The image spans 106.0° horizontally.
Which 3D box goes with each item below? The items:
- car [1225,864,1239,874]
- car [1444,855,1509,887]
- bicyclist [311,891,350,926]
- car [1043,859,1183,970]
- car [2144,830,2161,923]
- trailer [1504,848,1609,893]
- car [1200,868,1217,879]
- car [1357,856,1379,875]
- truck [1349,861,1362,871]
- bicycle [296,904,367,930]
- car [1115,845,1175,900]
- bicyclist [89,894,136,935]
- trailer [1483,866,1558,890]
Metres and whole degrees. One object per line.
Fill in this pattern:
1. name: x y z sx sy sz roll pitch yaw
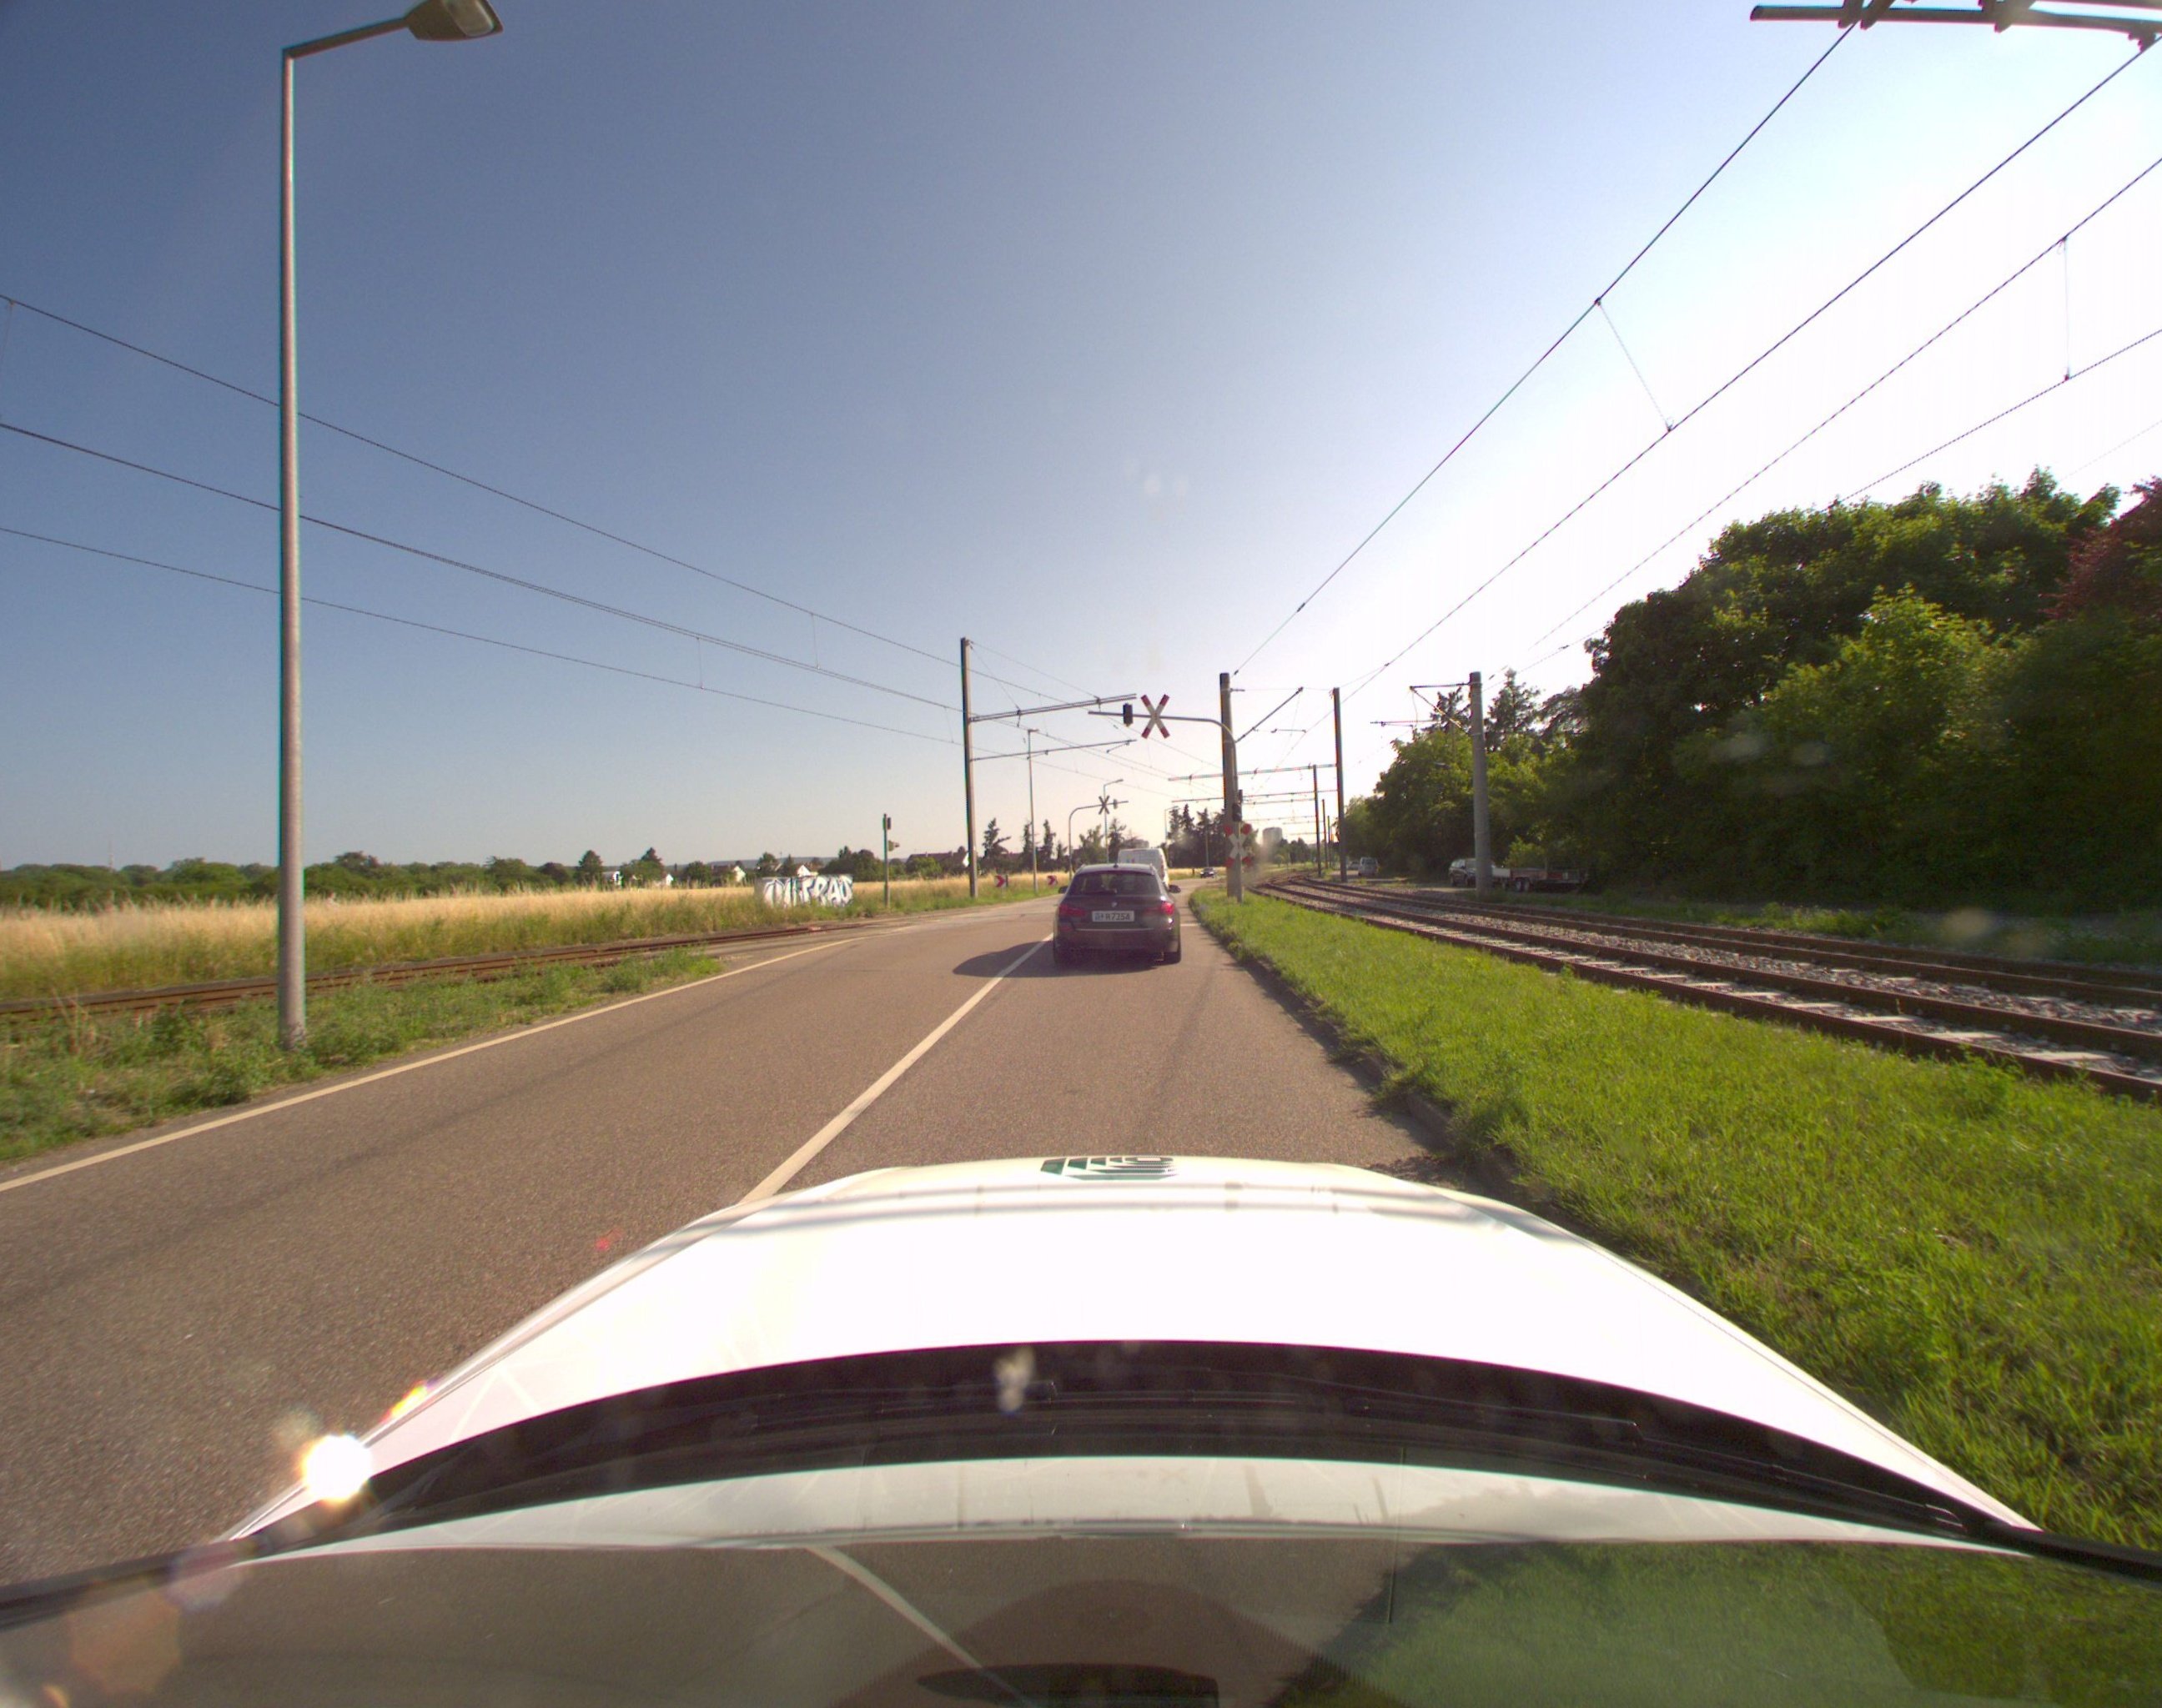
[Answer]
1. car: 25.594 2.479 138.165 1.693 1.665 4.610 -2 -1 17
2. car: 19.372 0.813 40.072 1.687 1.456 4.895 0 0 11
3. bicyclist: -27.086 1.951 29.409 0.738 1.205 0.794 -2 -1 23
4. car: 0.511 0.832 13.339 1.862 1.452 4.745 -1 0 2
5. car: 17.105 0.296 10.222 1.617 1.410 4.520 -1 -1 0
6. trailer: 18.159 0.616 31.329 2.015 1.596 4.269 0 -1 8
7. car: 17.007 2.554 108.510 1.680 1.440 4.301 -1 -1 15
8. car: 30.882 1.245 87.779 1.978 2.004 5.089 0 -1 17
9. truck: 53.882 2.304 160.056 2.187 1.819 5.955 -2 -1 17
10. bicycle: -27.069 2.261 29.437 0.743 0.839 1.746 -2 -1 24
11. car: 2.643 0.722 32.425 1.846 1.988 5.122 -1 -1 10
12. bicyclist: -29.772 1.845 25.034 0.597 1.205 0.794 -2 -1 24
13. trailer: 18.970 0.999 35.303 1.721 0.939 3.737 1 -1 9
